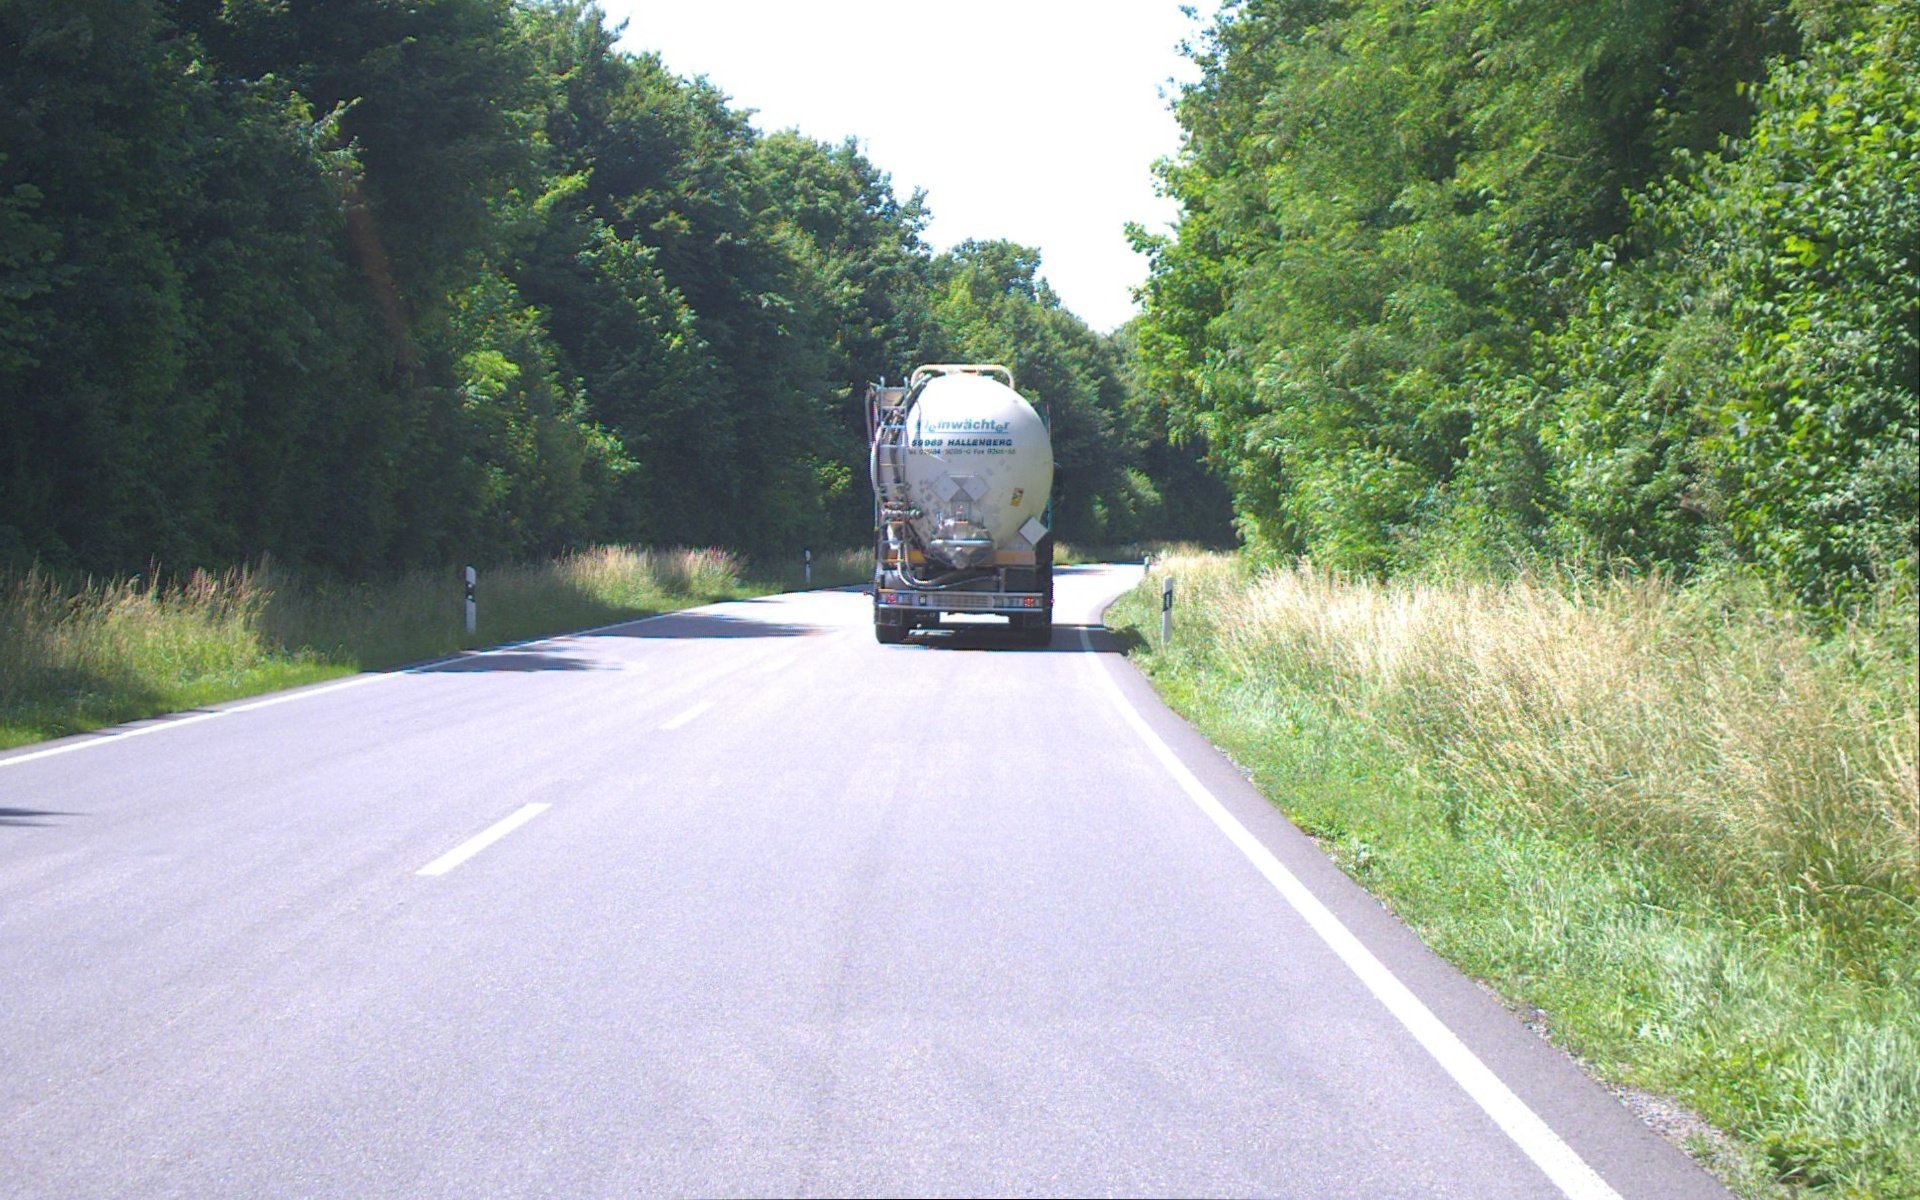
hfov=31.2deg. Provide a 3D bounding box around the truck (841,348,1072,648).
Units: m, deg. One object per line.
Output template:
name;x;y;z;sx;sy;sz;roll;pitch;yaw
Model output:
truck;0.014;-1.537;54.176;3.049;3.984;15.637;1;1;0
